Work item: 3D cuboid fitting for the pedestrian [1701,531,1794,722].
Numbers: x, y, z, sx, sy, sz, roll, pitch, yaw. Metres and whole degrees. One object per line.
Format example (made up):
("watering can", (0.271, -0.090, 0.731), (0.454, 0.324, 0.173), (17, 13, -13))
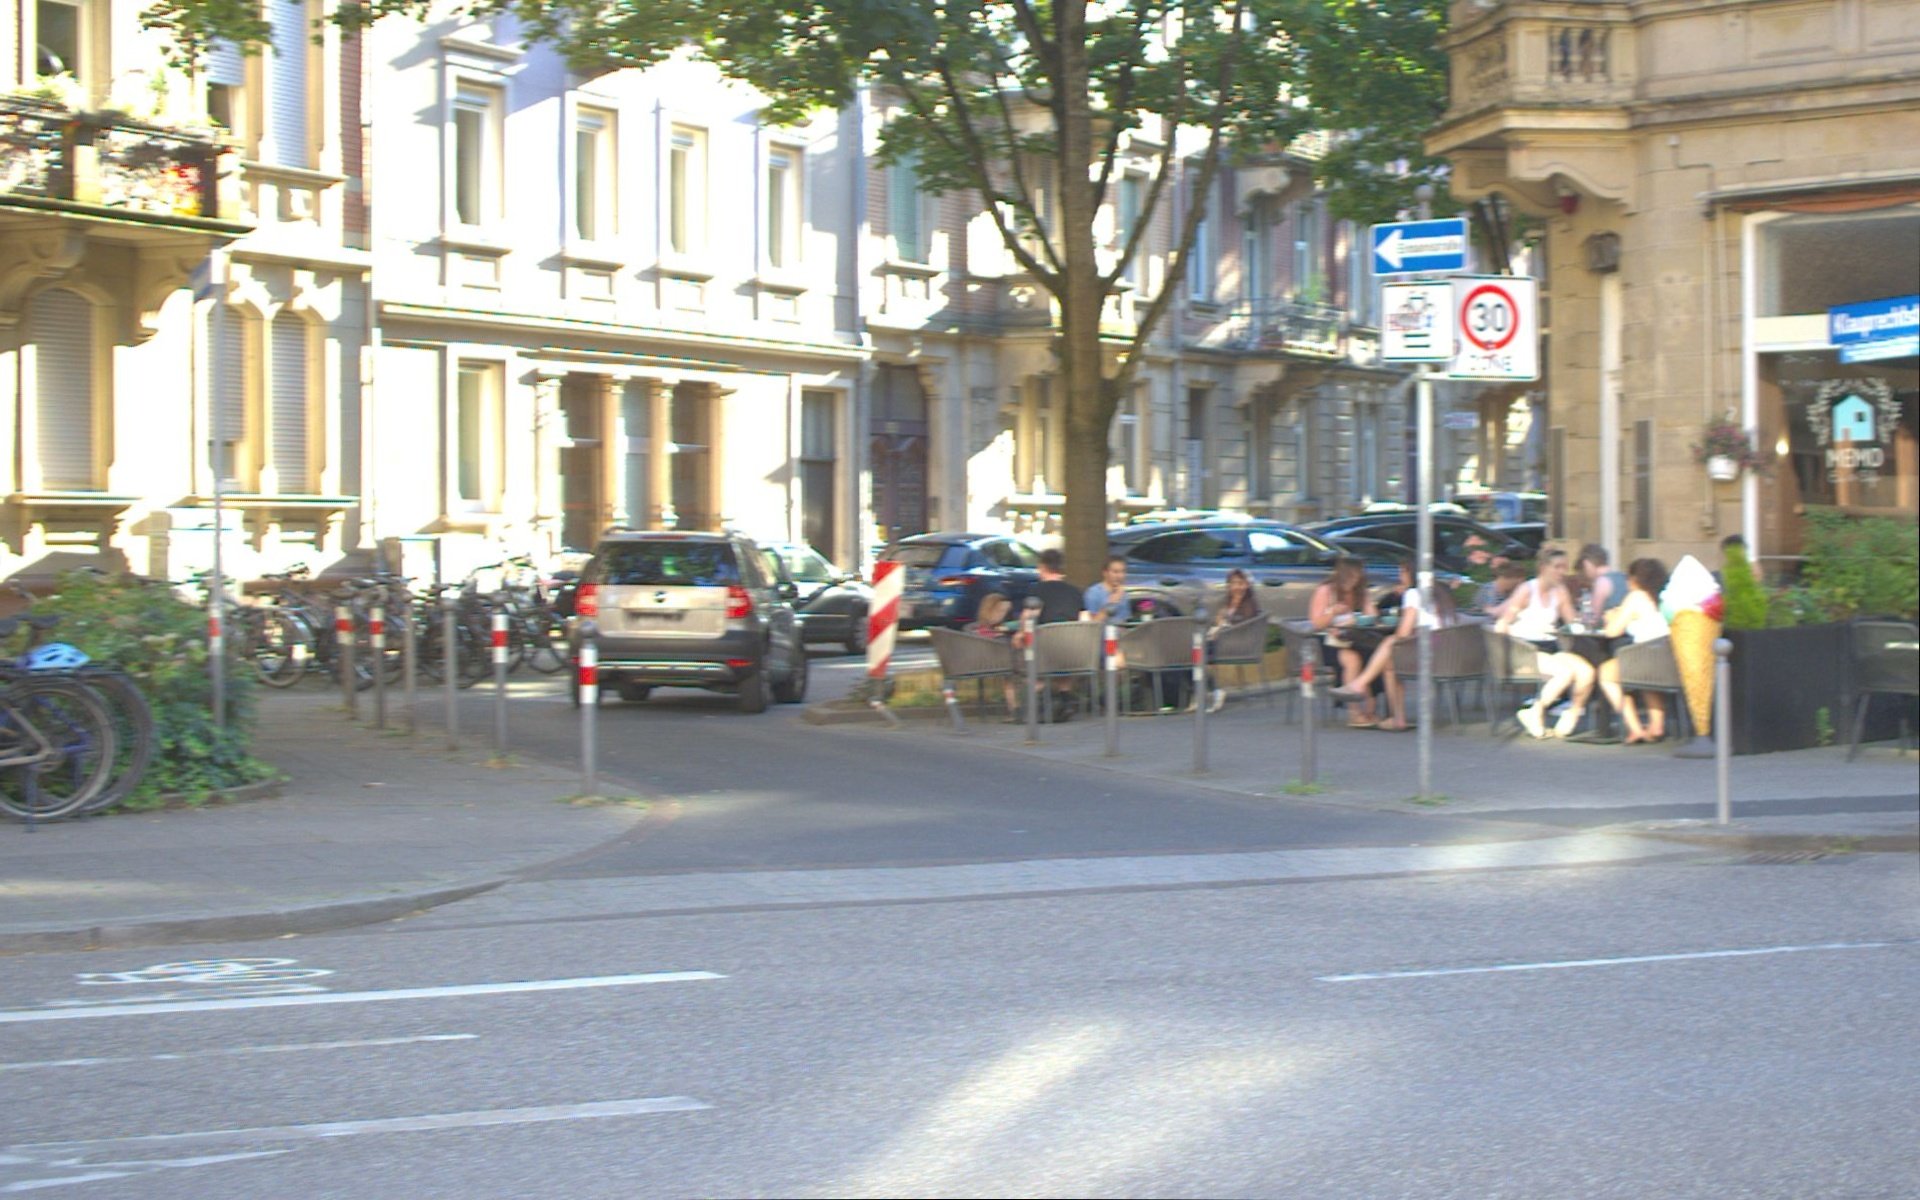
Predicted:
("pedestrian", (5.739, 0.186, 25.046), (0.432, 1.362, 0.482), (-2, 2, -37))

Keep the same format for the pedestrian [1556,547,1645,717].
("pedestrian", (4.798, 0.232, 25.766), (0.432, 1.244, 0.482), (-2, 2, -31))

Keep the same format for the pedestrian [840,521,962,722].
("pedestrian", (-0.502, 0.178, 29.086), (0.764, 1.664, 0.668), (-1, 0, -30))

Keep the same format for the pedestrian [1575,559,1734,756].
("pedestrian", (4.668, 0.370, 23.106), (0.740, 1.285, 0.745), (-1, 1, -38))

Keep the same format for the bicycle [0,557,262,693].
("bicycle", (-7.770, 0.206, 30.924), (3.131, 1.176, 0.751), (0, 1, 27))

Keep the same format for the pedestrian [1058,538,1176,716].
("pedestrian", (1.297, 0.216, 28.479), (0.764, 1.437, 0.668), (-1, 0, -16))

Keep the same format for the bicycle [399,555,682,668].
("bicycle", (-4.540, 0.105, 37.080), (3.131, 1.176, 0.751), (0, 1, 27))

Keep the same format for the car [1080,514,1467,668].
("car", (3.255, -0.116, 36.191), (3.823, 1.556, 1.803), (0, 1, -4))

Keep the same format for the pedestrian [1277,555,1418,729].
("pedestrian", (2.876, 0.300, 25.520), (0.747, 1.244, 0.707), (-2, 2, -31))

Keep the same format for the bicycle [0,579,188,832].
("bicycle", (-5.231, 0.516, 16.439), (2.948, 1.192, 0.548), (-1, 1, -24))

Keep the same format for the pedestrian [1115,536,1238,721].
("pedestrian", (1.727, 0.224, 27.468), (0.764, 1.437, 0.668), (-1, 0, -16))

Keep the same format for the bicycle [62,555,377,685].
("bicycle", (-7.000, 0.171, 32.431), (3.131, 1.176, 0.751), (0, 1, 27))

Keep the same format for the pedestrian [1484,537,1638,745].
("pedestrian", (4.149, 0.268, 23.740), (0.725, 1.406, 0.756), (-1, 1, -40))

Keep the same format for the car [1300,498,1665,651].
("car", (5.942, -0.301, 39.002), (3.989, 1.678, 1.999), (0, 1, 11))

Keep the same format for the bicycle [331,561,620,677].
("bicycle", (-5.101, 0.186, 36.086), (3.131, 1.176, 0.751), (0, 1, 27))

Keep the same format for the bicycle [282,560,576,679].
("bicycle", (-5.477, 0.183, 35.329), (3.131, 1.176, 0.751), (0, 1, 27))

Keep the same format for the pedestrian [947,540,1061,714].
("pedestrian", (0.362, 0.220, 28.444), (0.764, 1.407, 0.668), (-1, 0, -14))

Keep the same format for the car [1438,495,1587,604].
("car", (10.889, -1.005, 67.609), (1.809, 2.077, 3.746), (0, 1, 27))

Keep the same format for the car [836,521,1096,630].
("car", (0.125, -0.356, 45.430), (1.926, 1.371, 3.746), (0, 1, 27))

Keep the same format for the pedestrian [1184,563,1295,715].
("pedestrian", (2.287, 0.317, 28.208), (0.675, 1.211, 0.668), (-1, 0, -18))

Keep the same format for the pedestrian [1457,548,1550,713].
("pedestrian", (4.191, 0.224, 26.512), (0.509, 1.244, 0.482), (-2, 2, -31))

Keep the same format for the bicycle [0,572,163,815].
("bicycle", (-5.479, 0.475, 16.980), (2.948, 1.192, 0.548), (-1, 1, -24))

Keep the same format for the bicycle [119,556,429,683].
("bicycle", (-6.630, 0.172, 33.129), (3.131, 1.176, 0.751), (0, 1, 27))

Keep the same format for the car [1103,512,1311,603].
("car", (3.895, -0.682, 53.740), (1.926, 1.371, 3.746), (0, 1, 27))

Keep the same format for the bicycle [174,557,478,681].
("bicycle", (-6.262, 0.175, 33.874), (3.131, 1.176, 0.751), (0, 1, 27))

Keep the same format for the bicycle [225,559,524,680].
("bicycle", (-5.906, 0.178, 34.602), (3.131, 1.176, 0.751), (0, 1, 27))

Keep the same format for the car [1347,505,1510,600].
("car", (8.594, -0.876, 62.850), (1.809, 1.678, 3.746), (0, 1, 27))

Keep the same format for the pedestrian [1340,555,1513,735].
("pedestrian", (3.351, 0.307, 24.744), (0.747, 1.244, 1.025), (-2, 2, -31))

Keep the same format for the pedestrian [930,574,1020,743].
("pedestrian", (0.118, 0.461, 27.484), (0.570, 1.315, 0.505), (-1, 1, -18))

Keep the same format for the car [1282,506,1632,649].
("car", (5.980, -0.287, 41.717), (3.987, 1.678, 2.000), (0, 1, 1))

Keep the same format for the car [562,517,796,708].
("car", (-2.719, 0.065, 32.469), (1.993, 1.678, 4.001), (0, 1, -8))

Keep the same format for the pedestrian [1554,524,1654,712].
("pedestrian", (4.987, 0.132, 26.622), (0.481, 1.426, 0.569), (-2, 2, -39))

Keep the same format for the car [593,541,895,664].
("car", (-2.512, -0.003, 40.902), (1.926, 1.371, 3.746), (0, 1, 27))

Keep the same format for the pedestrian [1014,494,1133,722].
("pedestrian", (0.895, 0.062, 27.169), (0.764, 1.764, 0.572), (-1, 0, -16))
